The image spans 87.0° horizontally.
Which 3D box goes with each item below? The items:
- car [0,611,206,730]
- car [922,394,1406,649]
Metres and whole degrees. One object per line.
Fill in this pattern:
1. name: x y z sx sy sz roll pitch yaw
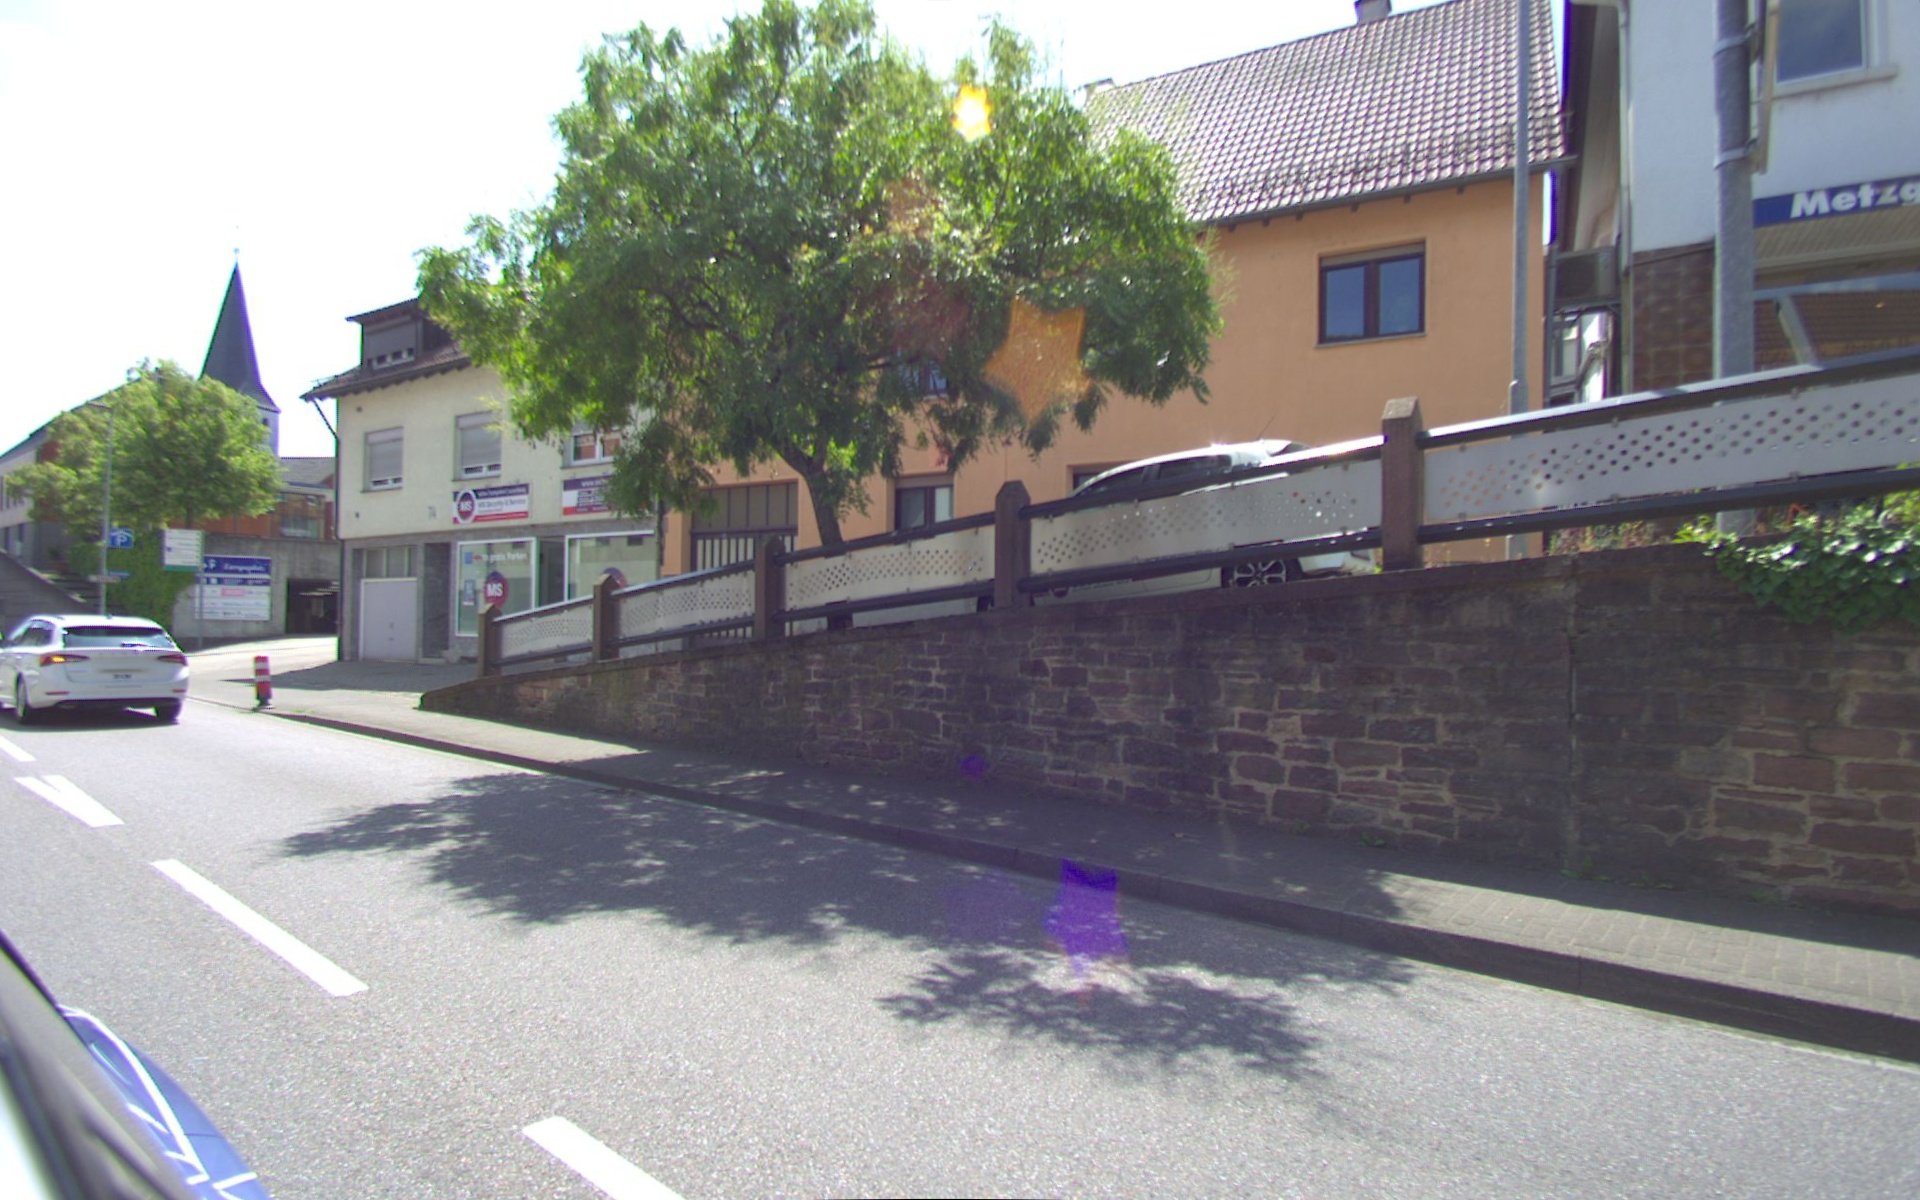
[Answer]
1. car: -12.617 0.916 14.559 4.426 1.458 1.795 -1 -2 39
2. car: 1.721 -0.514 9.157 3.848 1.555 1.678 -8 -5 37
